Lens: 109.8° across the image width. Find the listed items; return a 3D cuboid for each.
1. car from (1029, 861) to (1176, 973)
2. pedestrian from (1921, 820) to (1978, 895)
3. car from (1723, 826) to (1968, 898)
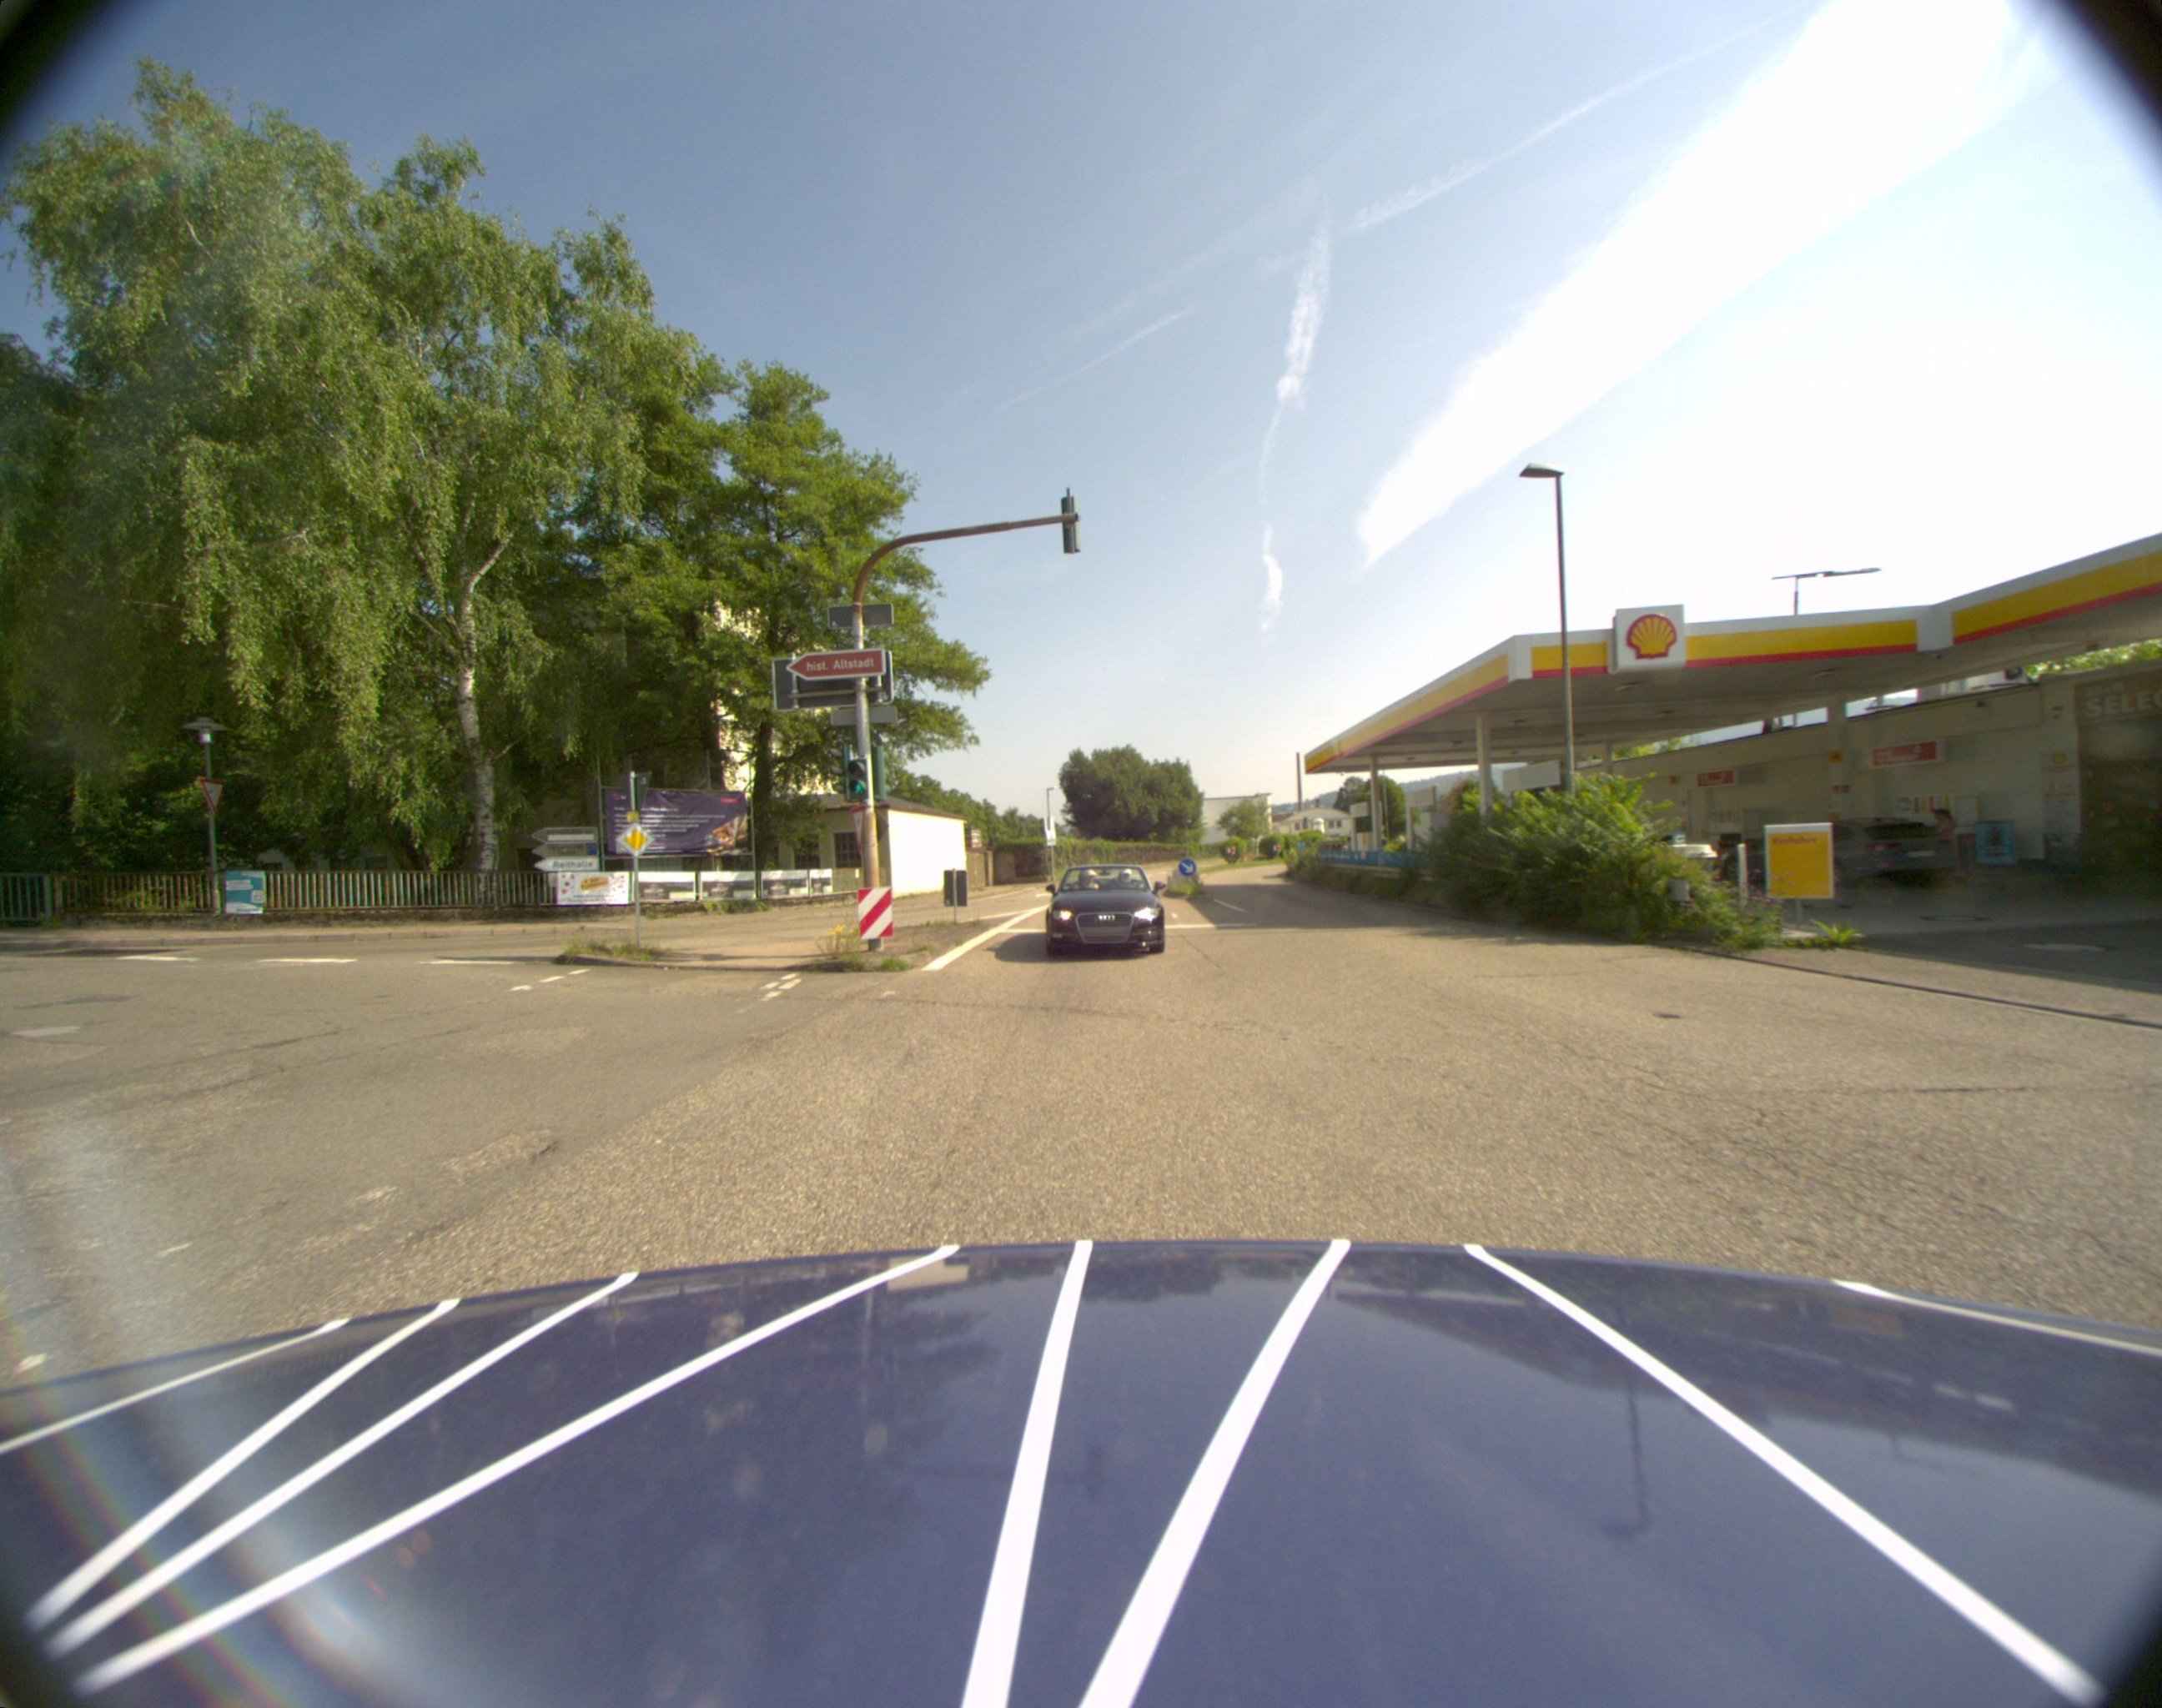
[{"bbox_3d":[0.336,0.844,12.024,1.868,1.323,4.232,-2,1,2],"label":"car"},{"bbox_3d":[18.310,0.067,16.026,0.559,1.538,0.535,-2,1,5],"label":"pedestrian"},{"bbox_3d":[17.215,0.137,17.454,1.631,1.403,4.228,-2,1,5],"label":"car"}]
